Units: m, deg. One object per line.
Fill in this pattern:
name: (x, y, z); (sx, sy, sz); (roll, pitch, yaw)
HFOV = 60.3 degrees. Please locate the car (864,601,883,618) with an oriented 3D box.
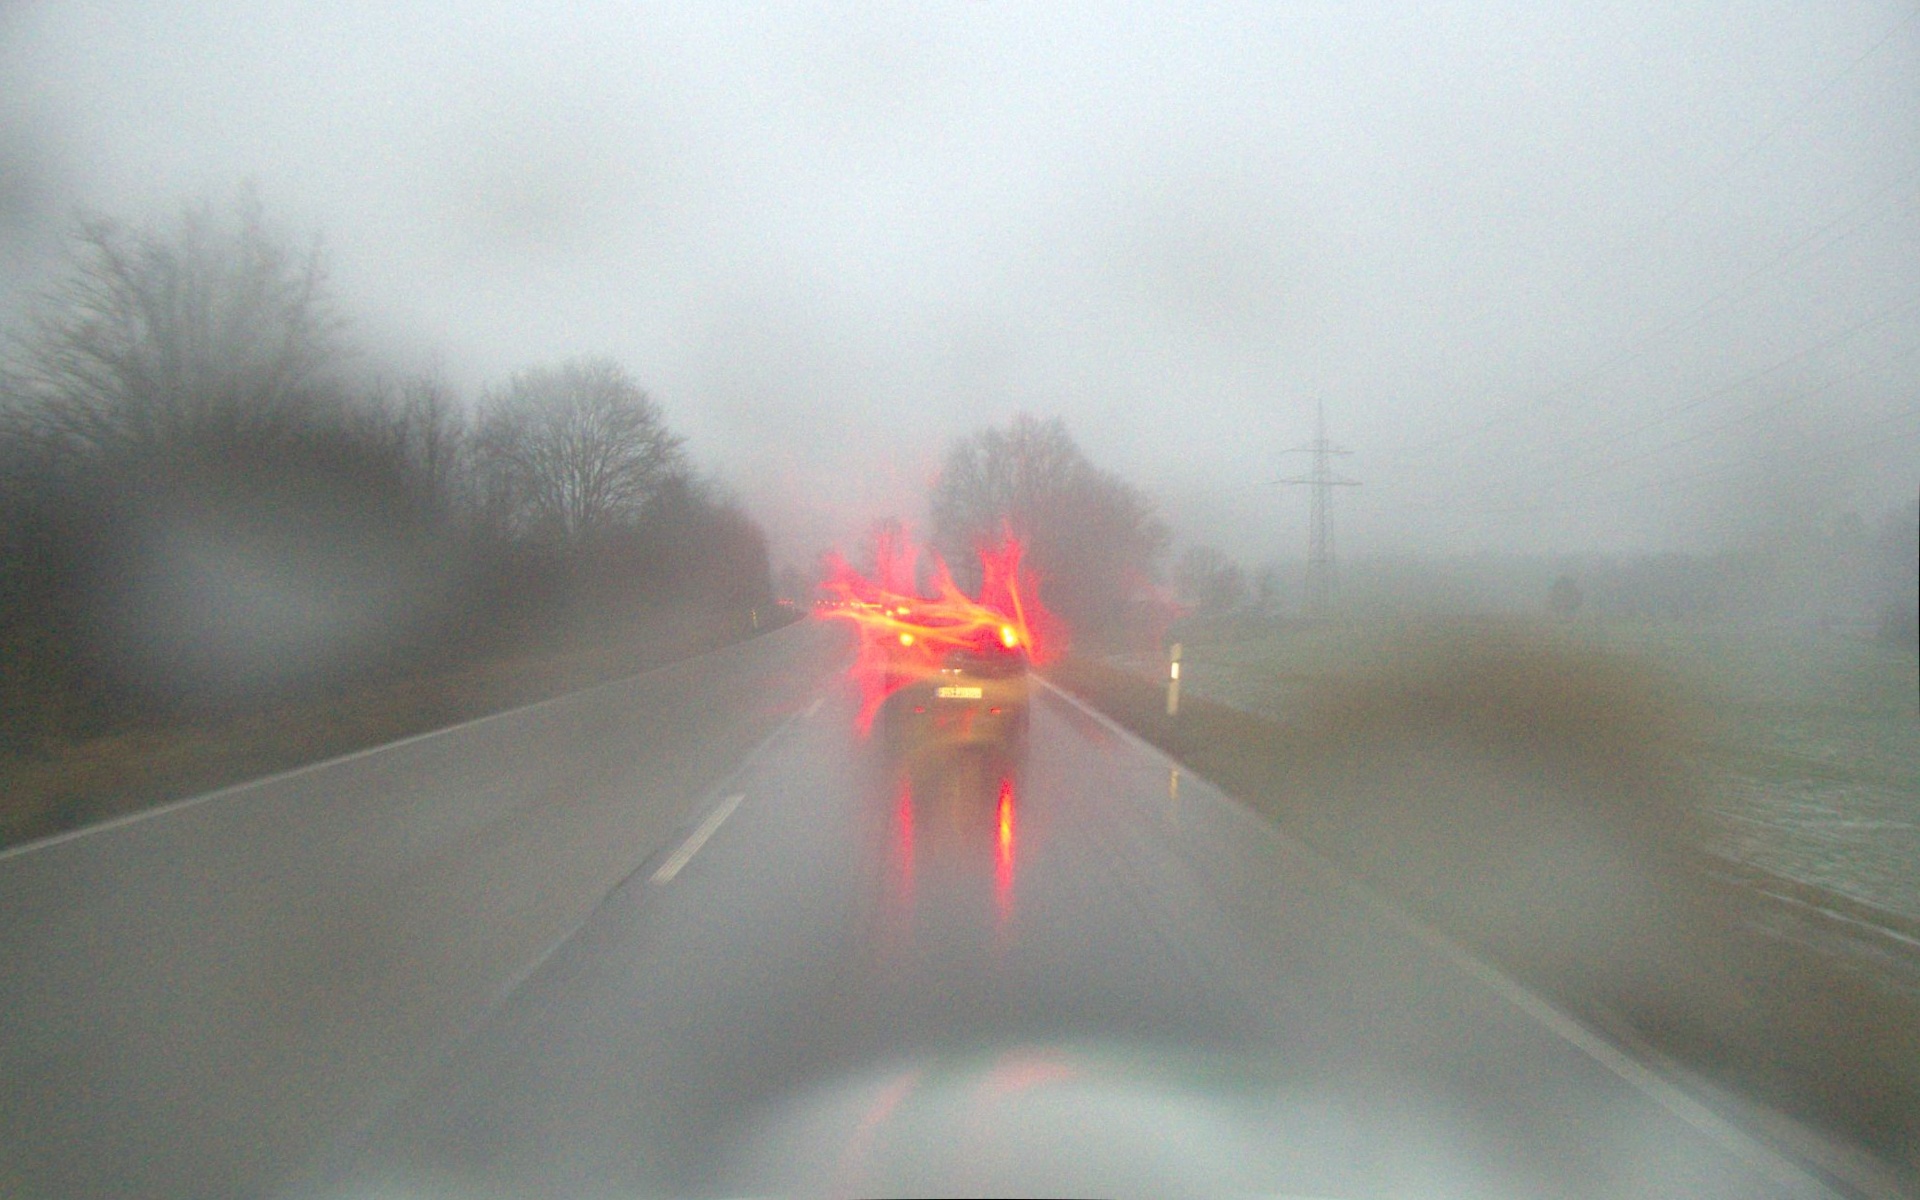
car: (-7.454, 0.827, 143.098); (1.516, 1.421, 3.867); (1, 0, -2)

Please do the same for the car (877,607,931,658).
car: (-1.692, 0.932, 49.087); (1.516, 1.421, 3.867); (1, 0, -3)

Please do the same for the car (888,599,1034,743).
car: (0.002, 0.785, 20.023); (1.569, 1.549, 3.869); (1, 0, 0)
